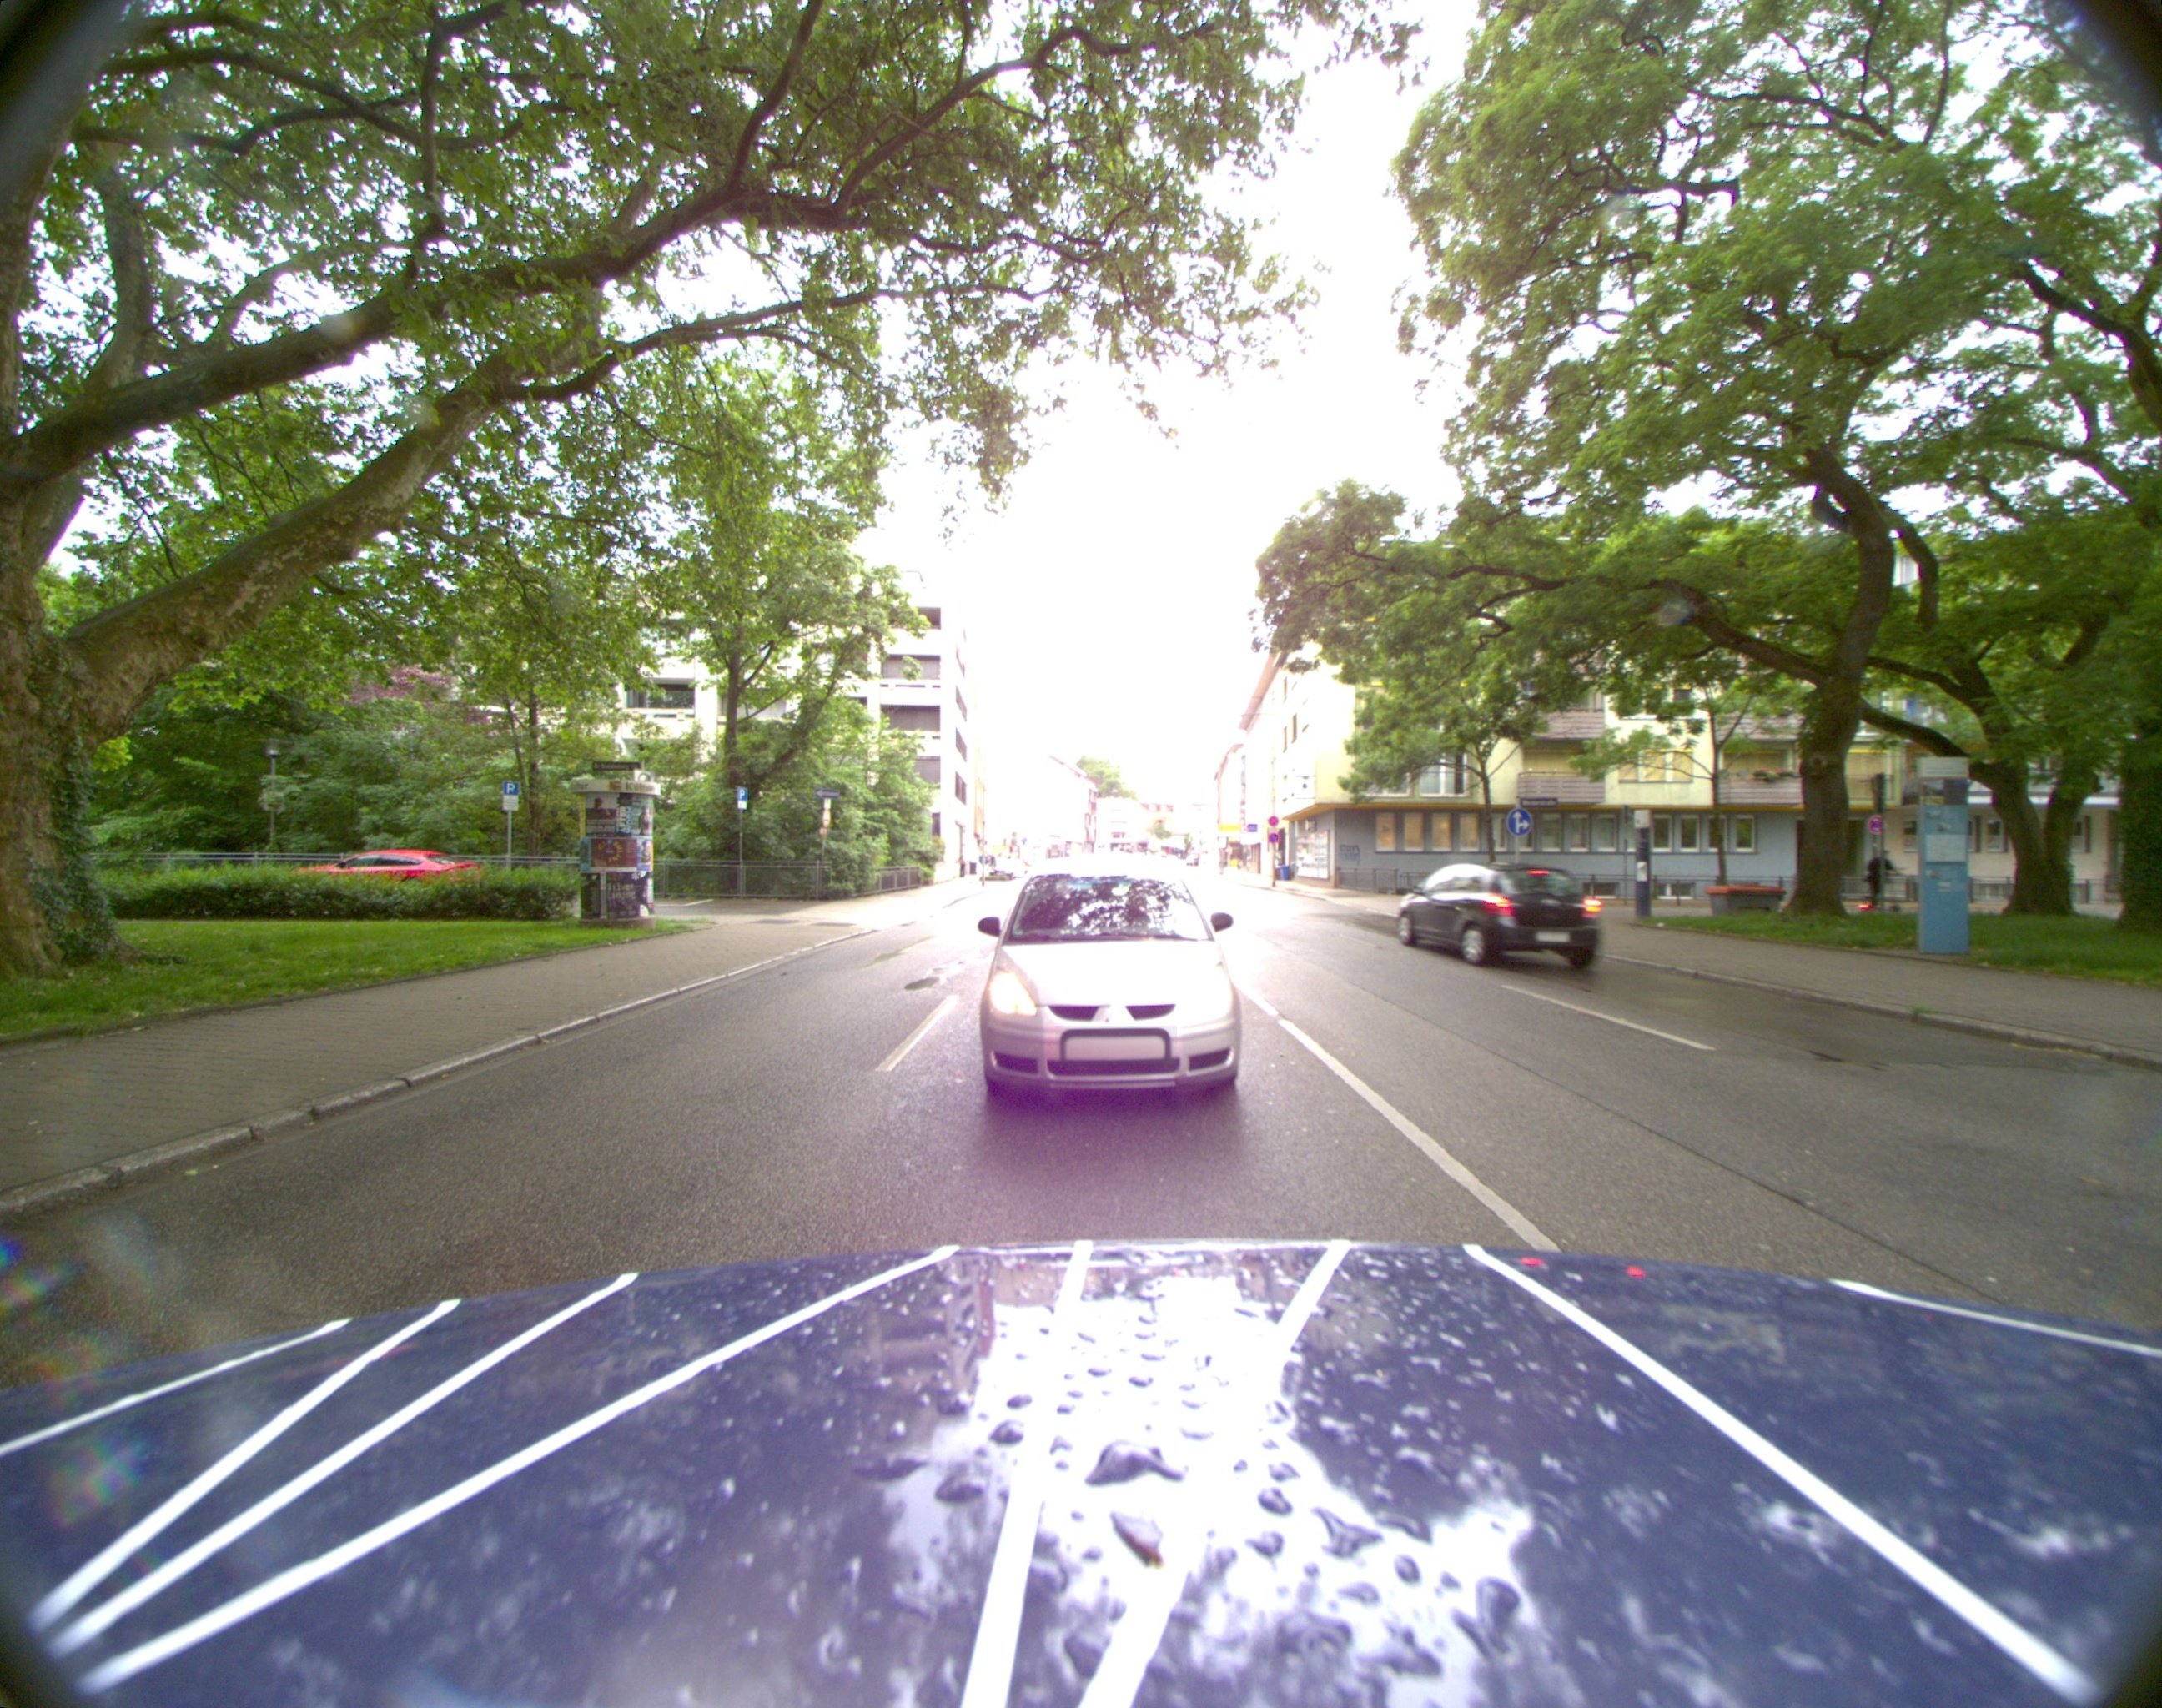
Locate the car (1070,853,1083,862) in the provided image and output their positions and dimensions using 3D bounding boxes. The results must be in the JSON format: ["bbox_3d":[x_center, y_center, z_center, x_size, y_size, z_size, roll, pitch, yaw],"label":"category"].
[{"bbox_3d":[-0.670,0.510,113.416,1.802,1.433,3.896,1,0,0],"label":"car"}]

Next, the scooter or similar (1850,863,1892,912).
[{"bbox_3d":[22.785,0.954,21.925,0.676,1.373,0.669,-1,-1,32],"label":"scooter or similar"}]

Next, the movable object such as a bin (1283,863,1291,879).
[{"bbox_3d":[13.079,1.097,48.216,0.415,1.023,0.353,1,1,8],"label":"movable object such as a bin"}]

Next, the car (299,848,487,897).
[{"bbox_3d":[-19.421,0.514,21.569,3.790,1.271,1.576,1,1,-3],"label":"car"}]

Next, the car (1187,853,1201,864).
[{"bbox_3d":[17.965,0.689,121.257,1.889,1.707,4.001,1,0,4],"label":"car"}]

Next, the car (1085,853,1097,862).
[{"bbox_3d":[1.579,0.559,120.018,1.802,1.433,3.897,1,0,1],"label":"car"}]

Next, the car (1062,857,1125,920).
[{"bbox_3d":[0.392,0.887,21.193,1.590,1.540,3.771,1,0,2],"label":"car"}]

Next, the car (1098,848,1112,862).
[{"bbox_3d":[3.561,0.132,112.523,1.935,1.817,3.999,-2,1,0],"label":"car"}]

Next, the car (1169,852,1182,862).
[{"bbox_3d":[15.872,0.443,127.729,1.867,1.648,4.001,1,0,4],"label":"car"}]

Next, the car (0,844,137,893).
[{"bbox_3d":[-29.099,0.399,21.217,3.468,1.271,1.448,1,1,-5],"label":"car"}]

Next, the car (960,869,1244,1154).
[{"bbox_3d":[0.144,0.926,5.920,1.576,1.514,3.241,-1,0,1],"label":"car"}]

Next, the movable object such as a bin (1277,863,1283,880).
[{"bbox_3d":[12.676,1.109,48.377,0.338,1.023,0.353,1,1,8],"label":"movable object such as a bin"}]

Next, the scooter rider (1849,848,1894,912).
[{"bbox_3d":[22.778,0.743,21.906,0.711,1.806,0.699,-1,-1,33],"label":"scooter rider"}]

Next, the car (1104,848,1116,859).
[{"bbox_3d":[4.951,-0.131,128.212,1.889,1.620,4.000,-4,1,3],"label":"car"}]

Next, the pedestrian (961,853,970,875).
[{"bbox_3d":[-8.012,0.691,52.639,0.480,1.521,0.481,-2,1,1],"label":"pedestrian"}]

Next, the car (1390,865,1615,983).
[{"bbox_3d":[6.378,0.960,11.973,1.571,1.479,3.567,1,0,1],"label":"car"}]

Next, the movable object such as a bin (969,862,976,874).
[{"bbox_3d":[-8.989,1.161,62.936,0.556,1.035,0.292,1,1,0],"label":"movable object such as a bin"}]

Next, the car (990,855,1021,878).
[{"bbox_3d":[-5.309,0.856,53.509,1.681,1.424,3.681,3,0,1],"label":"car"}]

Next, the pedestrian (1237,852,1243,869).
[{"bbox_3d":[17.634,0.752,84.074,0.594,1.833,0.565,1,1,8],"label":"pedestrian"}]

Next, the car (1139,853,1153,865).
[{"bbox_3d":[9.798,0.756,114.133,1.998,1.631,4.001,1,0,4],"label":"car"}]

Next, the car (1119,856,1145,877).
[{"bbox_3d":[3.803,0.918,56.700,1.701,1.433,3.897,-2,0,1],"label":"car"}]
